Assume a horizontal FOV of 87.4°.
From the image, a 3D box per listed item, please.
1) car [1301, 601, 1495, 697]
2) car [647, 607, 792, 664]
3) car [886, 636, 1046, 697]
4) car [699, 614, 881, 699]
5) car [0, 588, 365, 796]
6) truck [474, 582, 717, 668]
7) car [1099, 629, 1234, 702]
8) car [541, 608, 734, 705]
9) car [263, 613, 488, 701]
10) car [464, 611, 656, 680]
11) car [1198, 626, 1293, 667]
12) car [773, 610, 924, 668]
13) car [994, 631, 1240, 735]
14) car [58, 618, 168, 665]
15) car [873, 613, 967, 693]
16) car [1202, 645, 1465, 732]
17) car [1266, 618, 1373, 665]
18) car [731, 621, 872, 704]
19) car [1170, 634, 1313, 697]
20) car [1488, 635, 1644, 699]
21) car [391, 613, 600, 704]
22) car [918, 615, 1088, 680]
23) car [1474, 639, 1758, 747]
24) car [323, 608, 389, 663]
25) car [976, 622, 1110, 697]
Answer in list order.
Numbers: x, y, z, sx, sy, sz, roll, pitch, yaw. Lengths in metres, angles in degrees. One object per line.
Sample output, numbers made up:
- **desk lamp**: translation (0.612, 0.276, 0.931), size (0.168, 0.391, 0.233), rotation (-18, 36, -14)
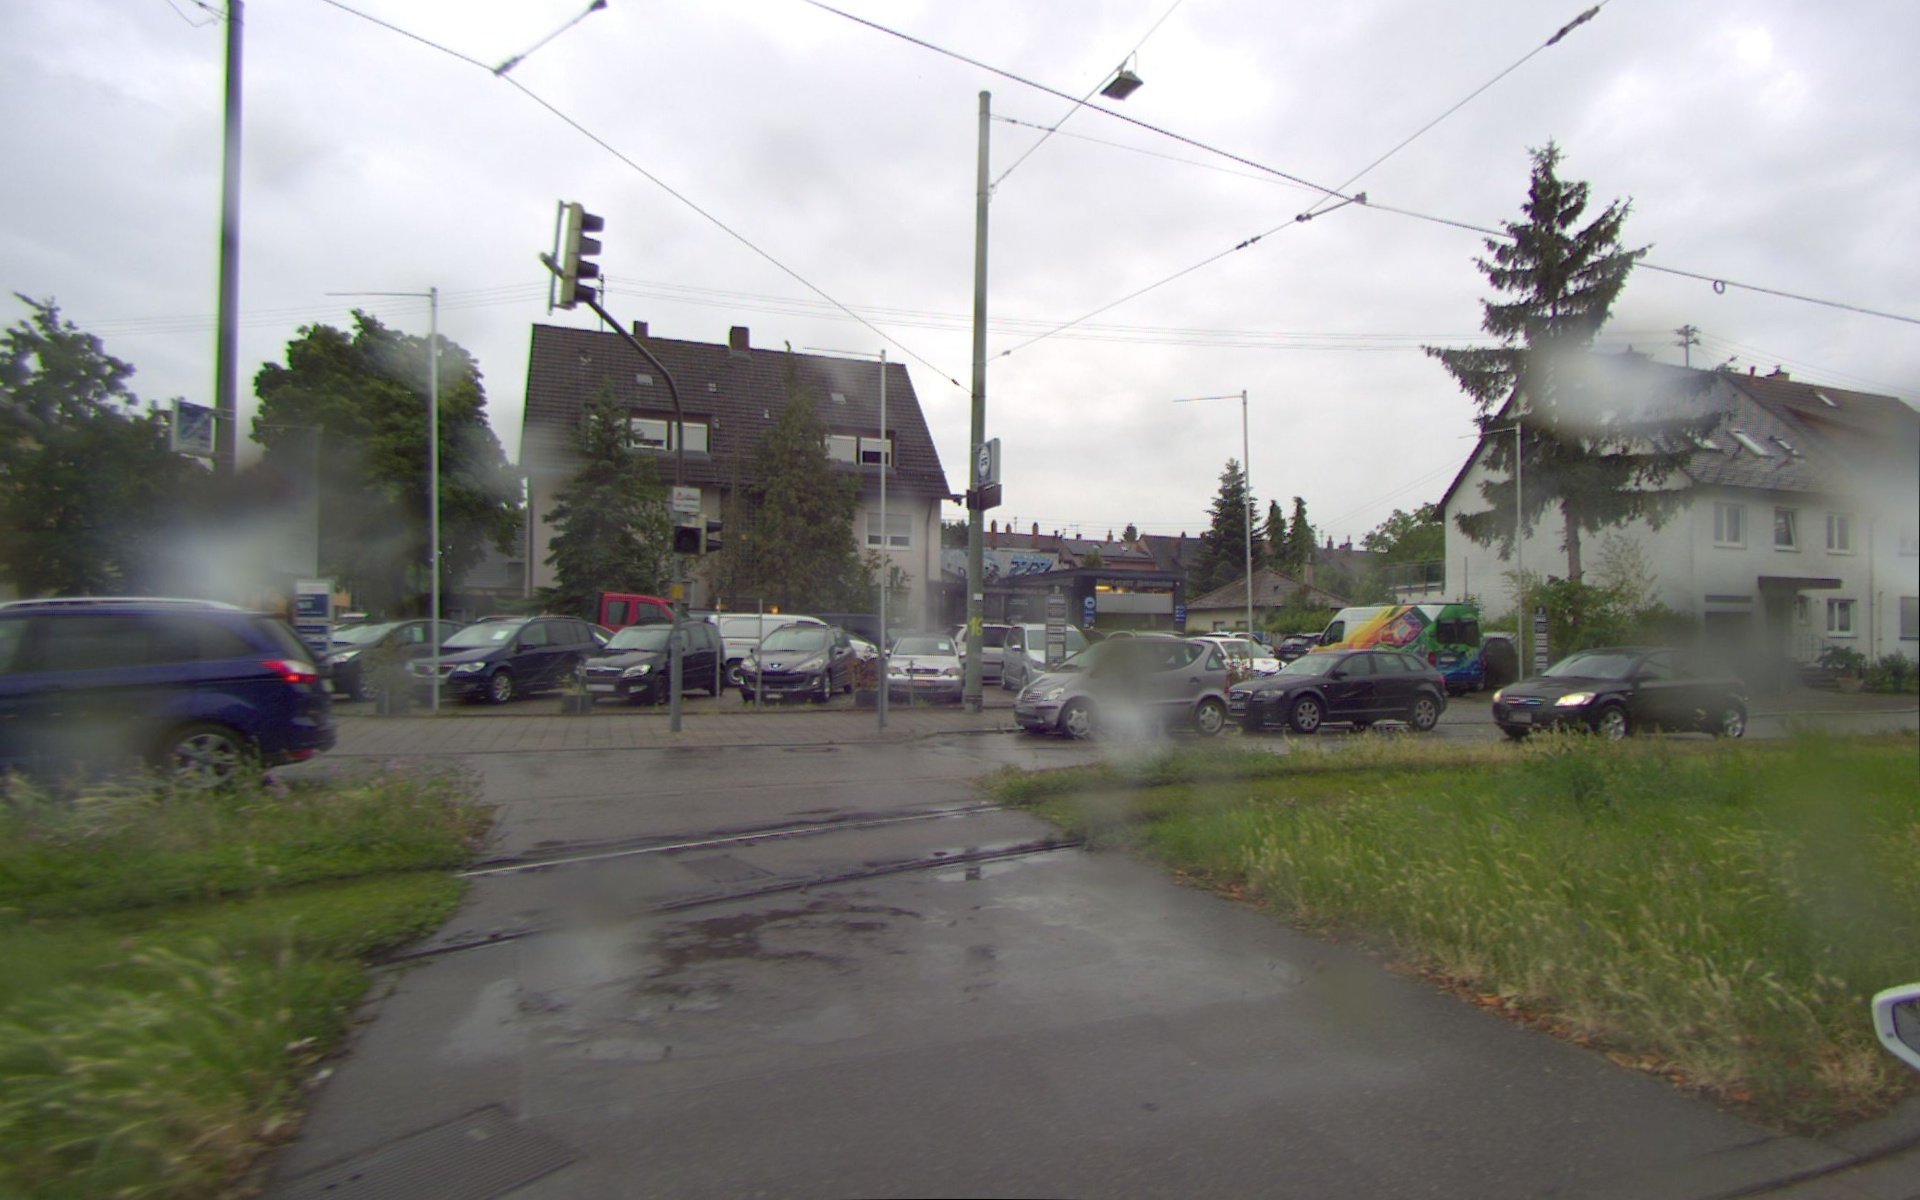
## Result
- **car**: translation (12.407, 1.384, 28.877), size (2.120, 2.437, 5.125), rotation (3, -3, -20)
- **car**: translation (-7.695, 1.158, 32.103), size (4.377, 1.709, 1.993), rotation (1, -3, -19)
- **car**: translation (0.153, 1.960, 29.983), size (4.377, 1.709, 1.993), rotation (1, -3, -19)
- **car**: translation (-4.399, 1.443, 25.873), size (4.377, 2.040, 1.993), rotation (1, -3, -19)
- **car**: translation (-7.970, 0.742, 8.769), size (4.513, 1.626, 1.987), rotation (4, -3, -26)
- **truck**: translation (-10.030, 0.715, 28.015), size (5.983, 2.301, 2.000), rotation (0, -3, -1)
- **car**: translation (4.968, 1.564, 24.612), size (1.695, 1.593, 3.605), rotation (3, -3, -17)
- **car**: translation (-6.311, 1.101, 20.202), size (1.959, 1.739, 4.003), rotation (0, -2, 12)
- **car**: translation (-11.587, 1.102, 20.250), size (1.771, 1.599, 3.875), rotation (-1, -2, 12)
- **car**: translation (-9.740, 1.127, 24.712), size (3.900, 1.618, 2.001), rotation (0, -3, -1)
- **car**: translation (11.936, 1.937, 41.853), size (4.415, 1.601, 1.772), rotation (3, -4, -42)
- **car**: translation (-3.498, 1.246, 31.417), size (4.377, 1.709, 1.993), rotation (1, -3, -19)
- **car**: translation (2.562, 1.355, 16.475), size (3.589, 1.524, 1.715), rotation (3, -3, -21)
- **car**: translation (-31.792, 1.576, 37.844), size (1.971, 1.639, 3.979), rotation (1, -3, -22)
- **car**: translation (-0.893, 1.153, 22.007), size (1.798, 1.524, 4.058), rotation (3, -3, -3)
- **car**: translation (6.683, 1.580, 17.986), size (4.322, 1.356, 1.715), rotation (3, -3, -20)
- **car**: translation (13.105, 1.523, 36.527), size (4.367, 1.601, 1.842), rotation (3, -4, -42)
- **car**: translation (-3.221, 1.304, 21.279), size (1.796, 1.524, 4.062), rotation (2, -3, 8)
- **car**: translation (7.045, 1.626, 25.569), size (1.695, 1.414, 3.829), rotation (3, -3, -17)
- **car**: translation (17.868, 1.932, 29.659), size (3.836, 1.585, 1.991), rotation (-2, 0, -21)
- **car**: translation (-8.975, 1.103, 19.795), size (1.771, 1.599, 3.875), rotation (-1, -2, 12)
- **car**: translation (1.174, 1.322, 27.761), size (4.377, 1.709, 1.754), rotation (1, -3, -19)
- **car**: translation (10.356, 1.466, 15.892), size (3.939, 1.505, 1.735), rotation (3, -3, -19)
- **car**: translation (-30.516, 1.810, 50.856), size (2.130, 2.606, 4.111), rotation (3, -3, -23)
- **car**: translation (1.840, 1.335, 23.529), size (1.779, 1.599, 3.856), rotation (0, -2, -19)
